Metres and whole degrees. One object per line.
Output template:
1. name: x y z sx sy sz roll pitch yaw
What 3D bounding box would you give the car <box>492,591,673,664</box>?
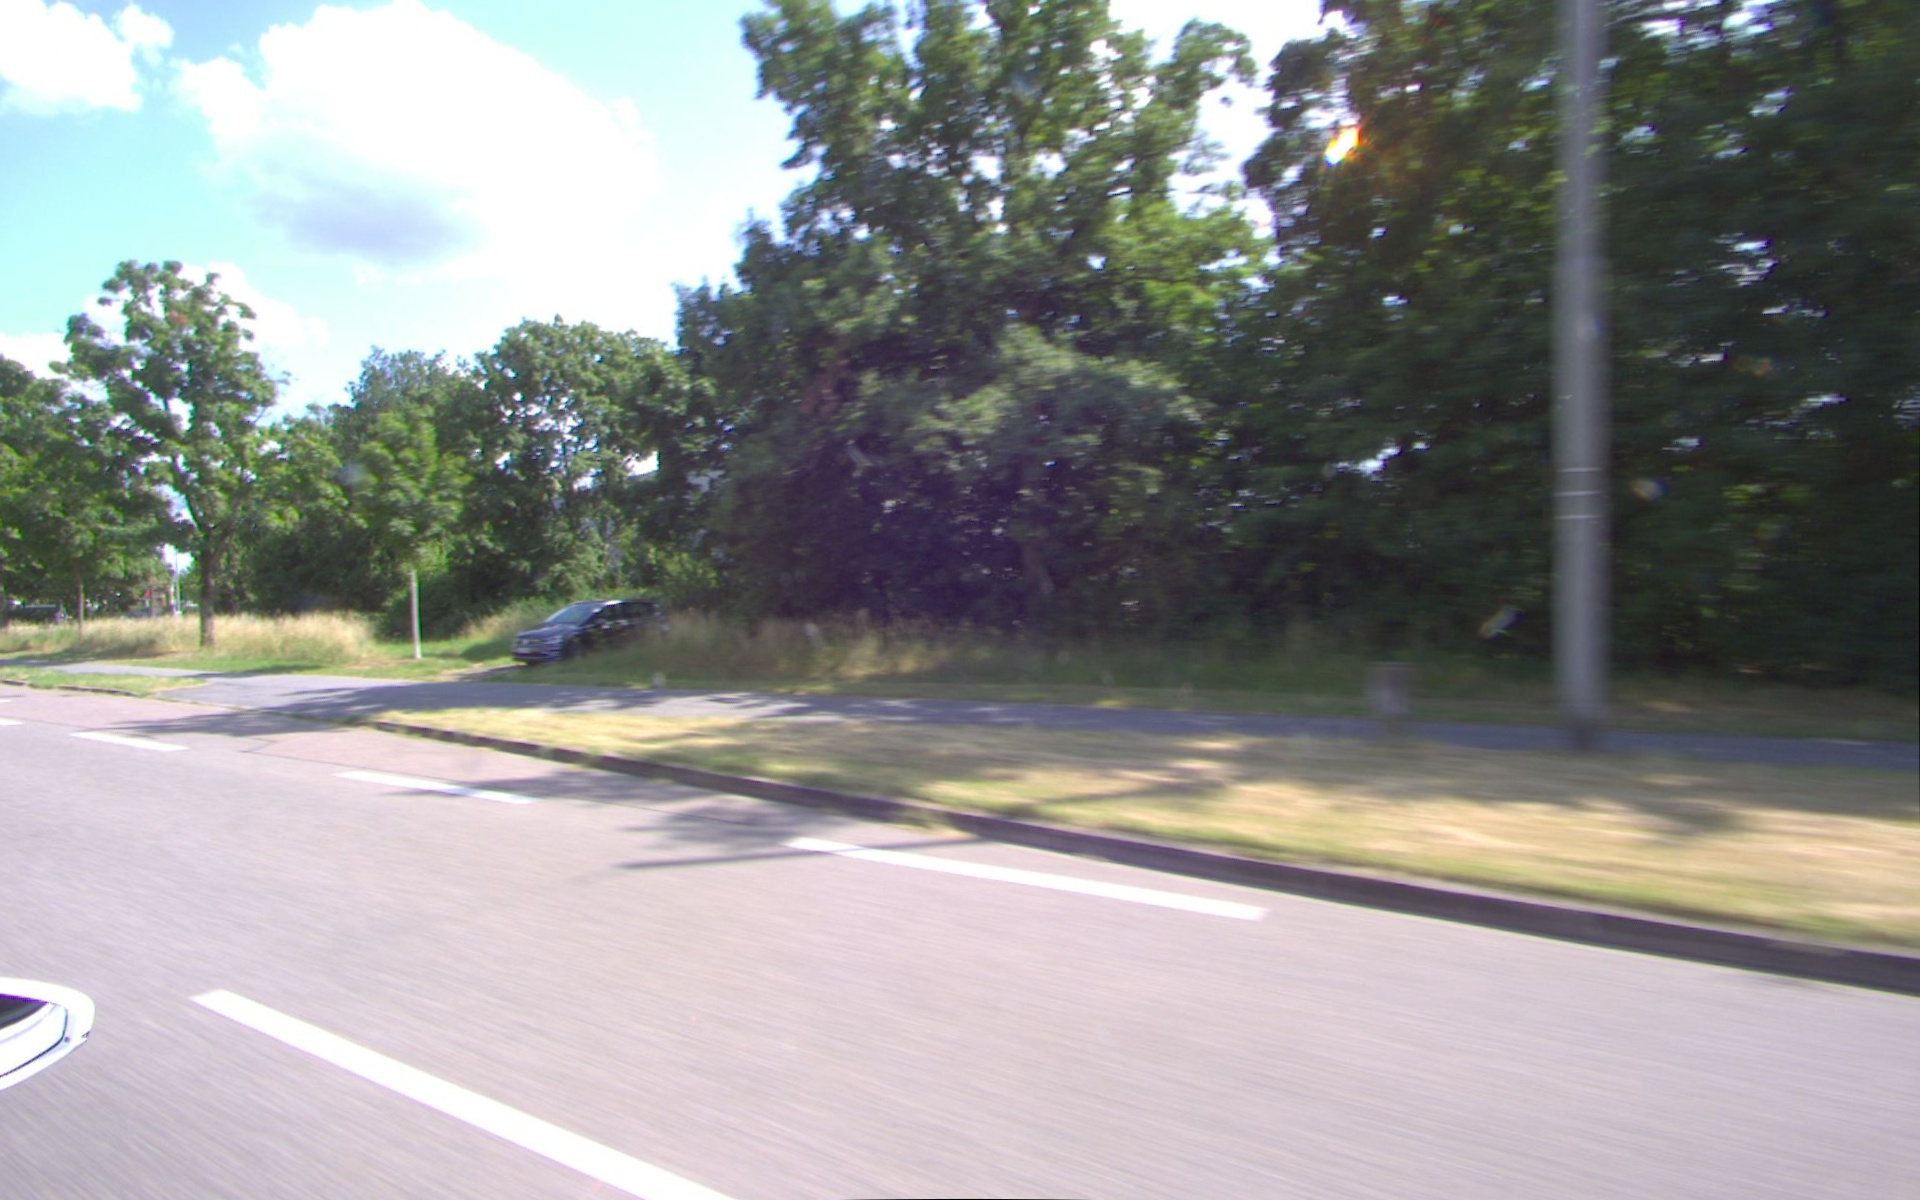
1. car: -9.381 0.612 25.251 1.756 1.514 4.158 1 3 27
